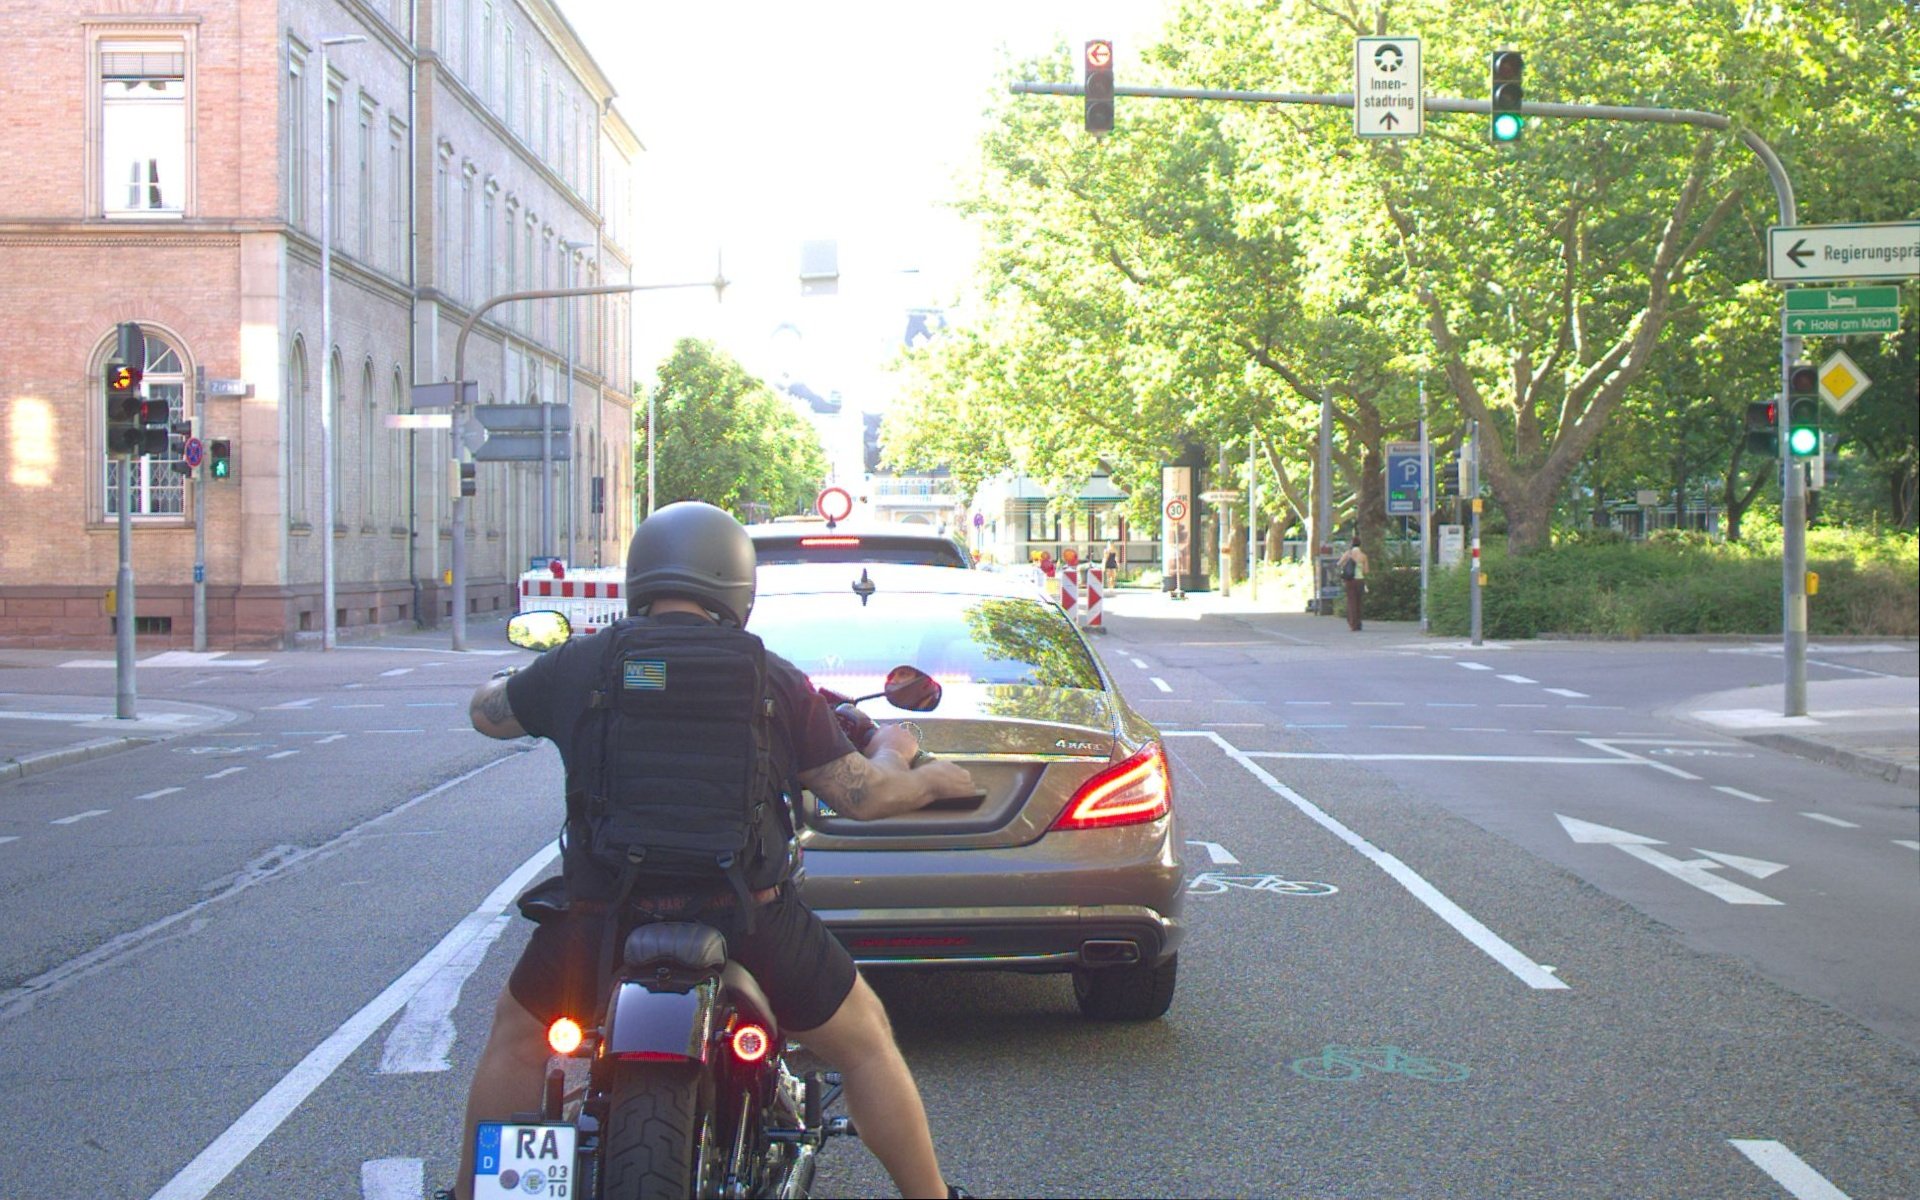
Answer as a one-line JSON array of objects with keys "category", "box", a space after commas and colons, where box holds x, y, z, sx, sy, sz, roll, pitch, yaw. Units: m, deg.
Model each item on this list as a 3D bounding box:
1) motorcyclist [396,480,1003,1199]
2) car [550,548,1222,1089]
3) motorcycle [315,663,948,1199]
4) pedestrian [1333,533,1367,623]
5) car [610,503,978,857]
[{"category": "motorcyclist", "box": [-0.486, 0.572, 6.928, 1.113, 1.607, 1.202, 0, 1, -1]}, {"category": "car", "box": [-0.450, 0.564, 11.638, 1.821, 1.471, 4.354, 0, 1, -7]}, {"category": "motorcycle", "box": [-0.540, 0.774, 6.815, 1.007, 1.200, 2.665, 0, 1, -1]}, {"category": "pedestrian", "box": [7.273, -0.416, 64.165, 0.559, 1.672, 0.565, 0, 1, -1]}, {"category": "car", "box": [-0.821, 0.338, 17.682, 1.681, 1.619, 3.841, 0, 1, -2]}]
